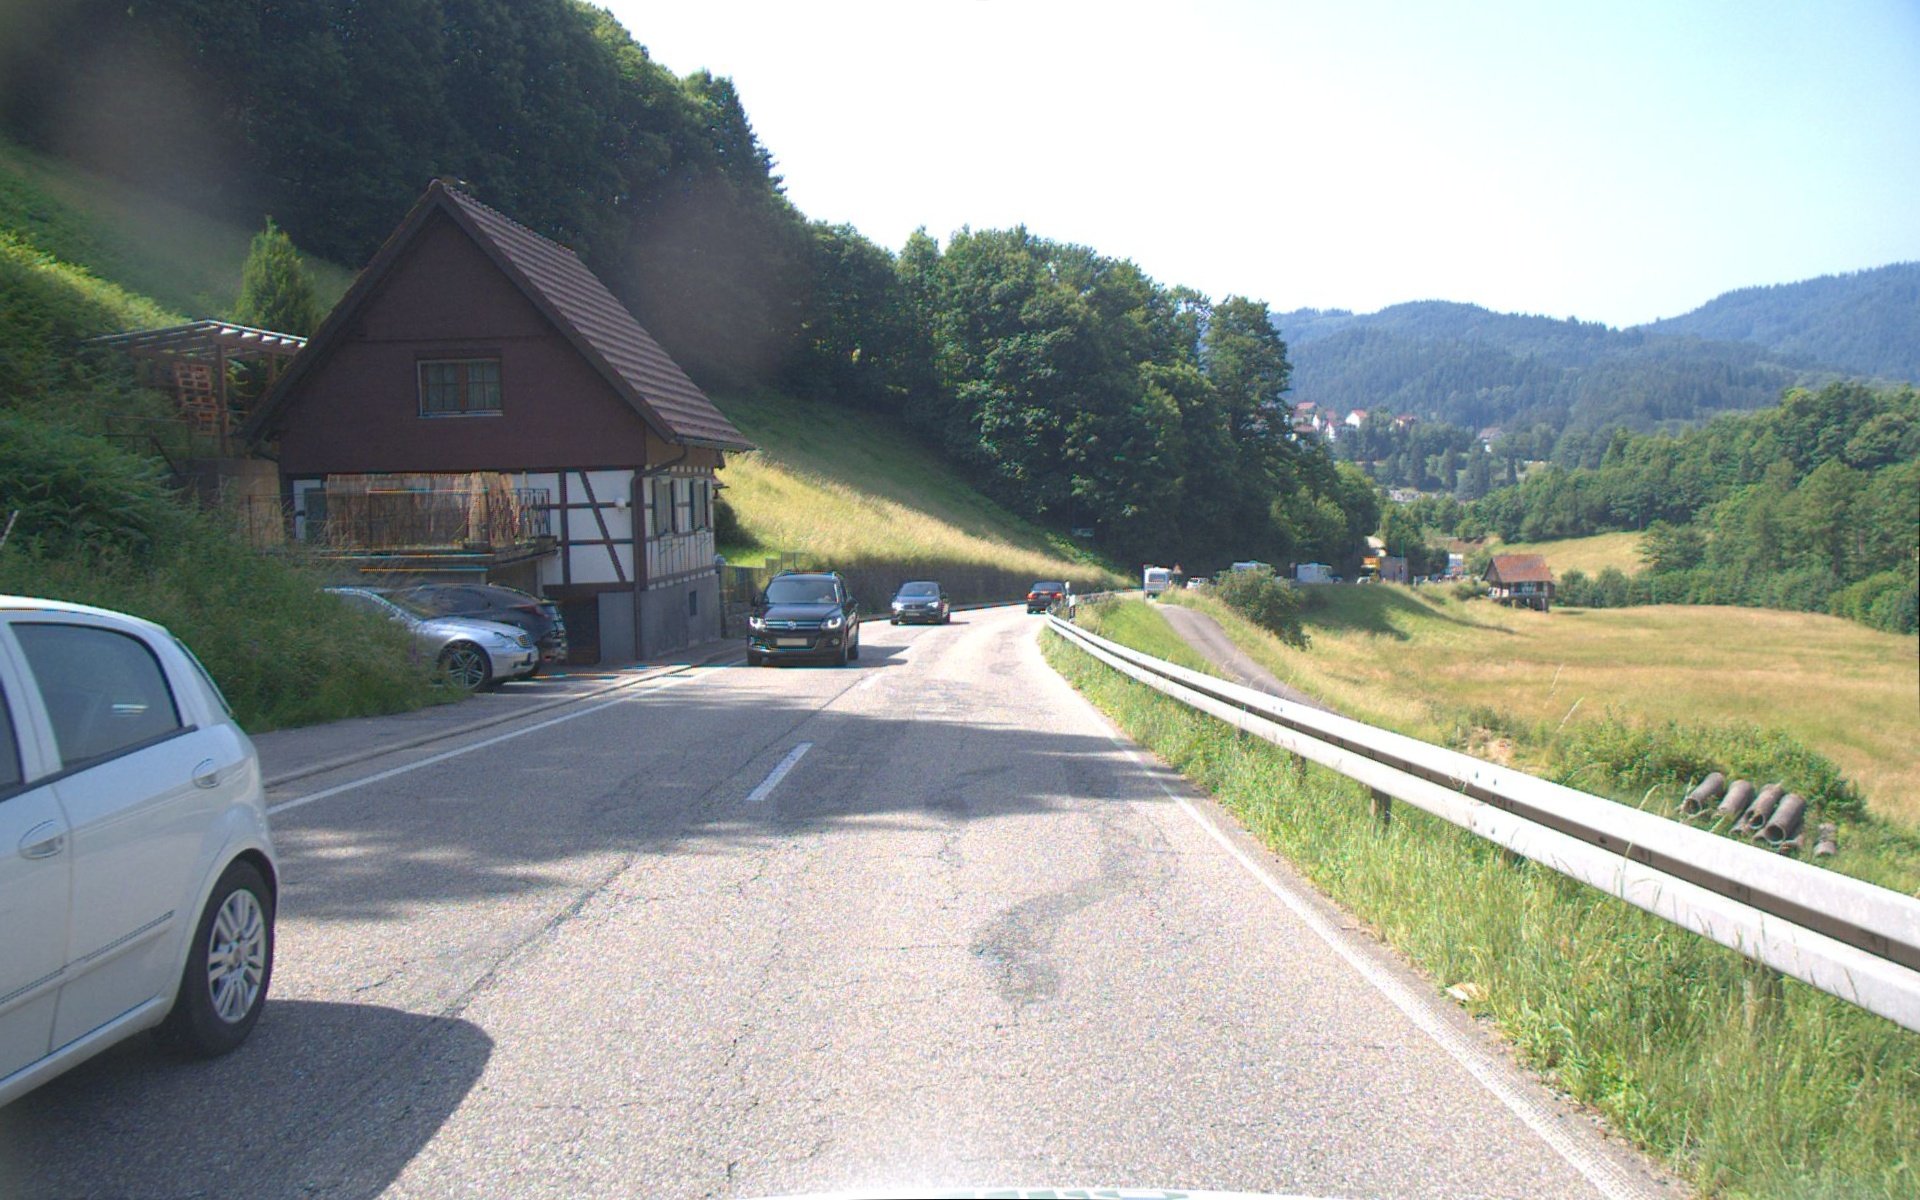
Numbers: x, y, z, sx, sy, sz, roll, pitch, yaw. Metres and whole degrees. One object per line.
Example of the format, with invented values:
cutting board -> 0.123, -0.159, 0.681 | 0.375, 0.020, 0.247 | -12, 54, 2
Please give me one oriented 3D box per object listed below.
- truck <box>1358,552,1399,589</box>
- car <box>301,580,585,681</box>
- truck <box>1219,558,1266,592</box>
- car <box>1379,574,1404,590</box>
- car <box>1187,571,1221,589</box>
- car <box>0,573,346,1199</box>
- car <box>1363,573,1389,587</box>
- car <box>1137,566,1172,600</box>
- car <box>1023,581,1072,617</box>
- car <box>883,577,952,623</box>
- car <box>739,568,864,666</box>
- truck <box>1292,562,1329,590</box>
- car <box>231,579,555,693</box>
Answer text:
truck -> 54.788, -3.827, 216.426 | 3.132, 4.472, 6.555 | 4, 2, 32
car -> -7.870, 0.437, 25.415 | 3.736, 1.458, 1.865 | 0, 1, 3
truck -> 27.400, -2.441, 160.164 | 2.736, 3.049, 6.865 | 4, 3, 24
car -> 54.378, -2.245, 208.371 | 1.958, 1.959, 3.991 | 4, 2, 31
car -> 21.267, -1.744, 144.127 | 1.953, 1.509, 4.000 | 4, 2, 21
car -> -3.089, 0.678, 3.964 | 1.741, 1.462, 4.000 | -1, 0, 0
car -> 50.241, -2.414, 199.864 | 1.873, 1.511, 3.991 | 6, 2, 31
car -> 14.772, -1.285, 125.644 | 1.951, 2.393, 4.919 | 2, 2, 14
car -> 3.859, -0.065, 72.425 | 1.733, 1.358, 3.771 | 2, 2, 9
car -> -1.415, -0.034, 57.107 | 1.727, 1.420, 4.149 | 1, 2, 8
car -> -2.863, 0.254, 30.679 | 1.850, 1.673, 4.259 | 0, 1, 1
truck -> 38.124, -2.559, 179.743 | 2.195, 2.852, 6.223 | 2, 0, 28
car -> -7.633, 0.457, 22.501 | 3.736, 1.441, 1.858 | 0, 1, 3
